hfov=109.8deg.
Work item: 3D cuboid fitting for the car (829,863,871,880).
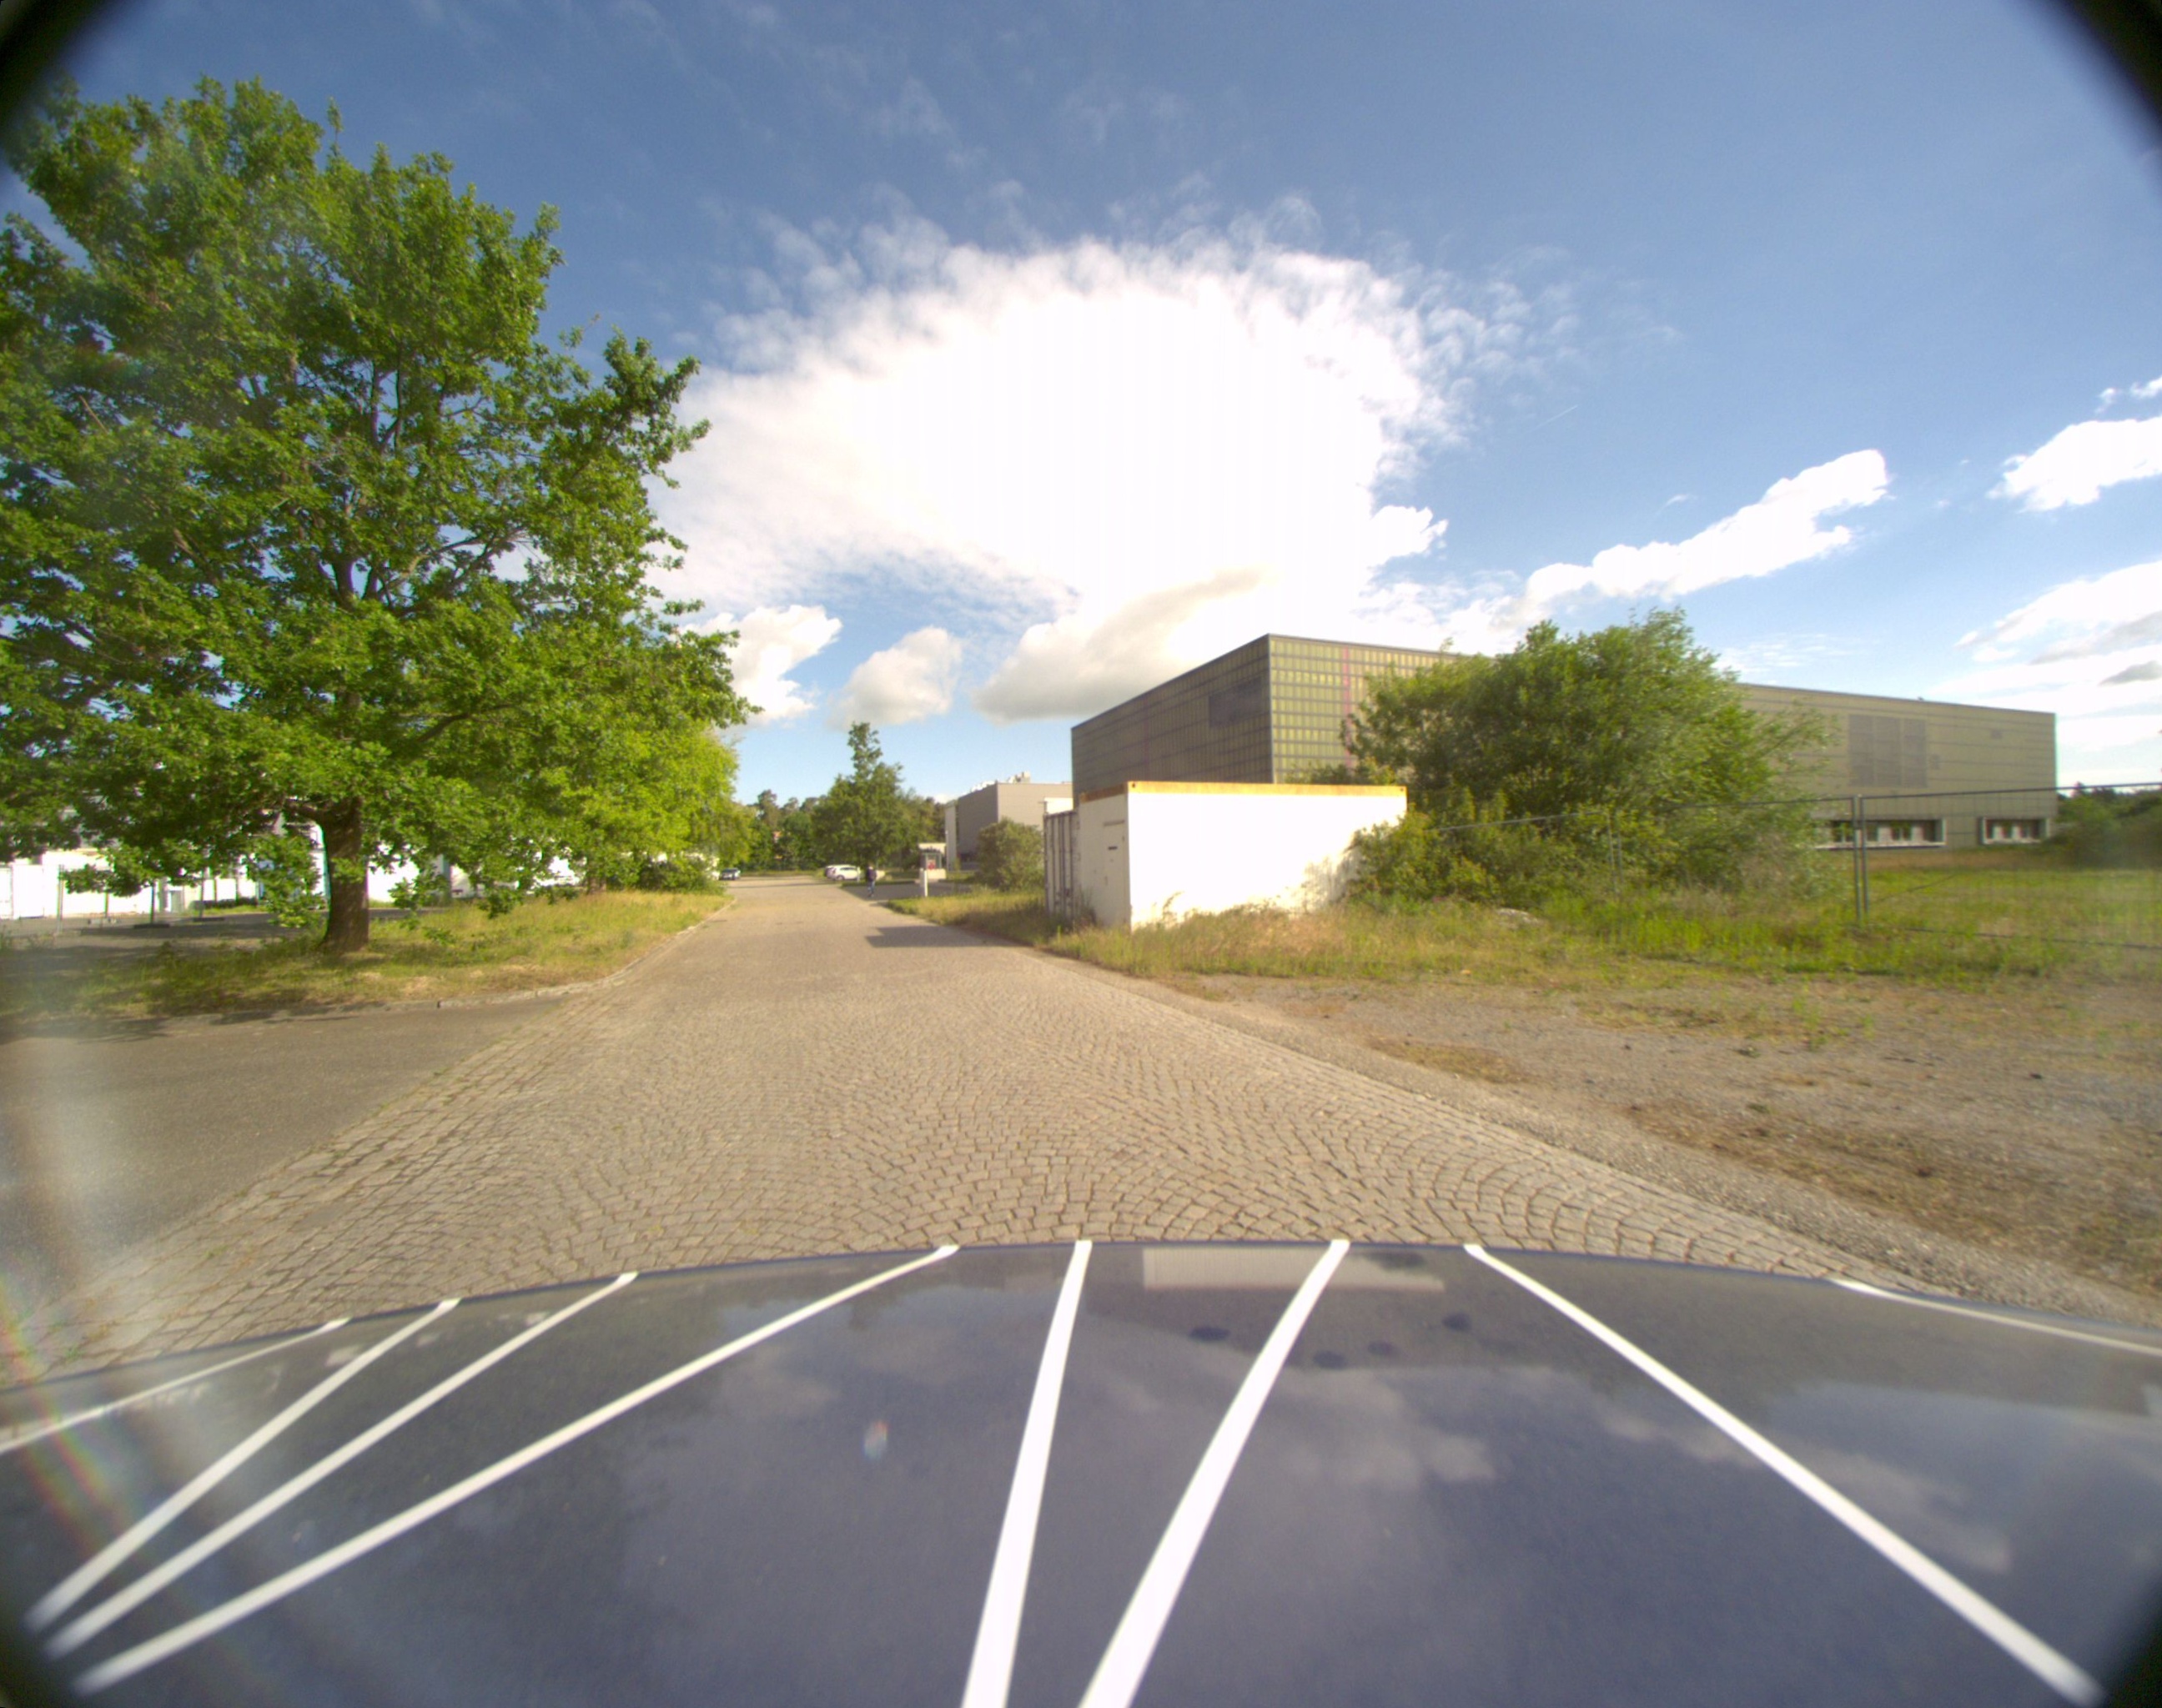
[{"bbox_3d":[-23.666,1.780,77.960,4.002,1.633,1.997,-1,0,-16],"label":"car"}]

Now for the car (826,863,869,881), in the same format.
[{"bbox_3d":[-23.069,1.778,75.267,4.002,1.633,1.997,-1,0,-16],"label":"car"}]

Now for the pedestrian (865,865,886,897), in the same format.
[{"bbox_3d":[-10.229,1.347,37.812,0.868,1.549,1.027,-2,0,-11],"label":"pedestrian"}]

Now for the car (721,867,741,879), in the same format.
[{"bbox_3d":[-42.985,2.303,93.368,2.003,1.363,3.991,-2,0,-28],"label":"car"}]

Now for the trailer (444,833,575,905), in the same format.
[{"bbox_3d":[-31.417,0.779,42.376,2.929,3.450,9.885,-1,0,-19],"label":"trailer"}]
